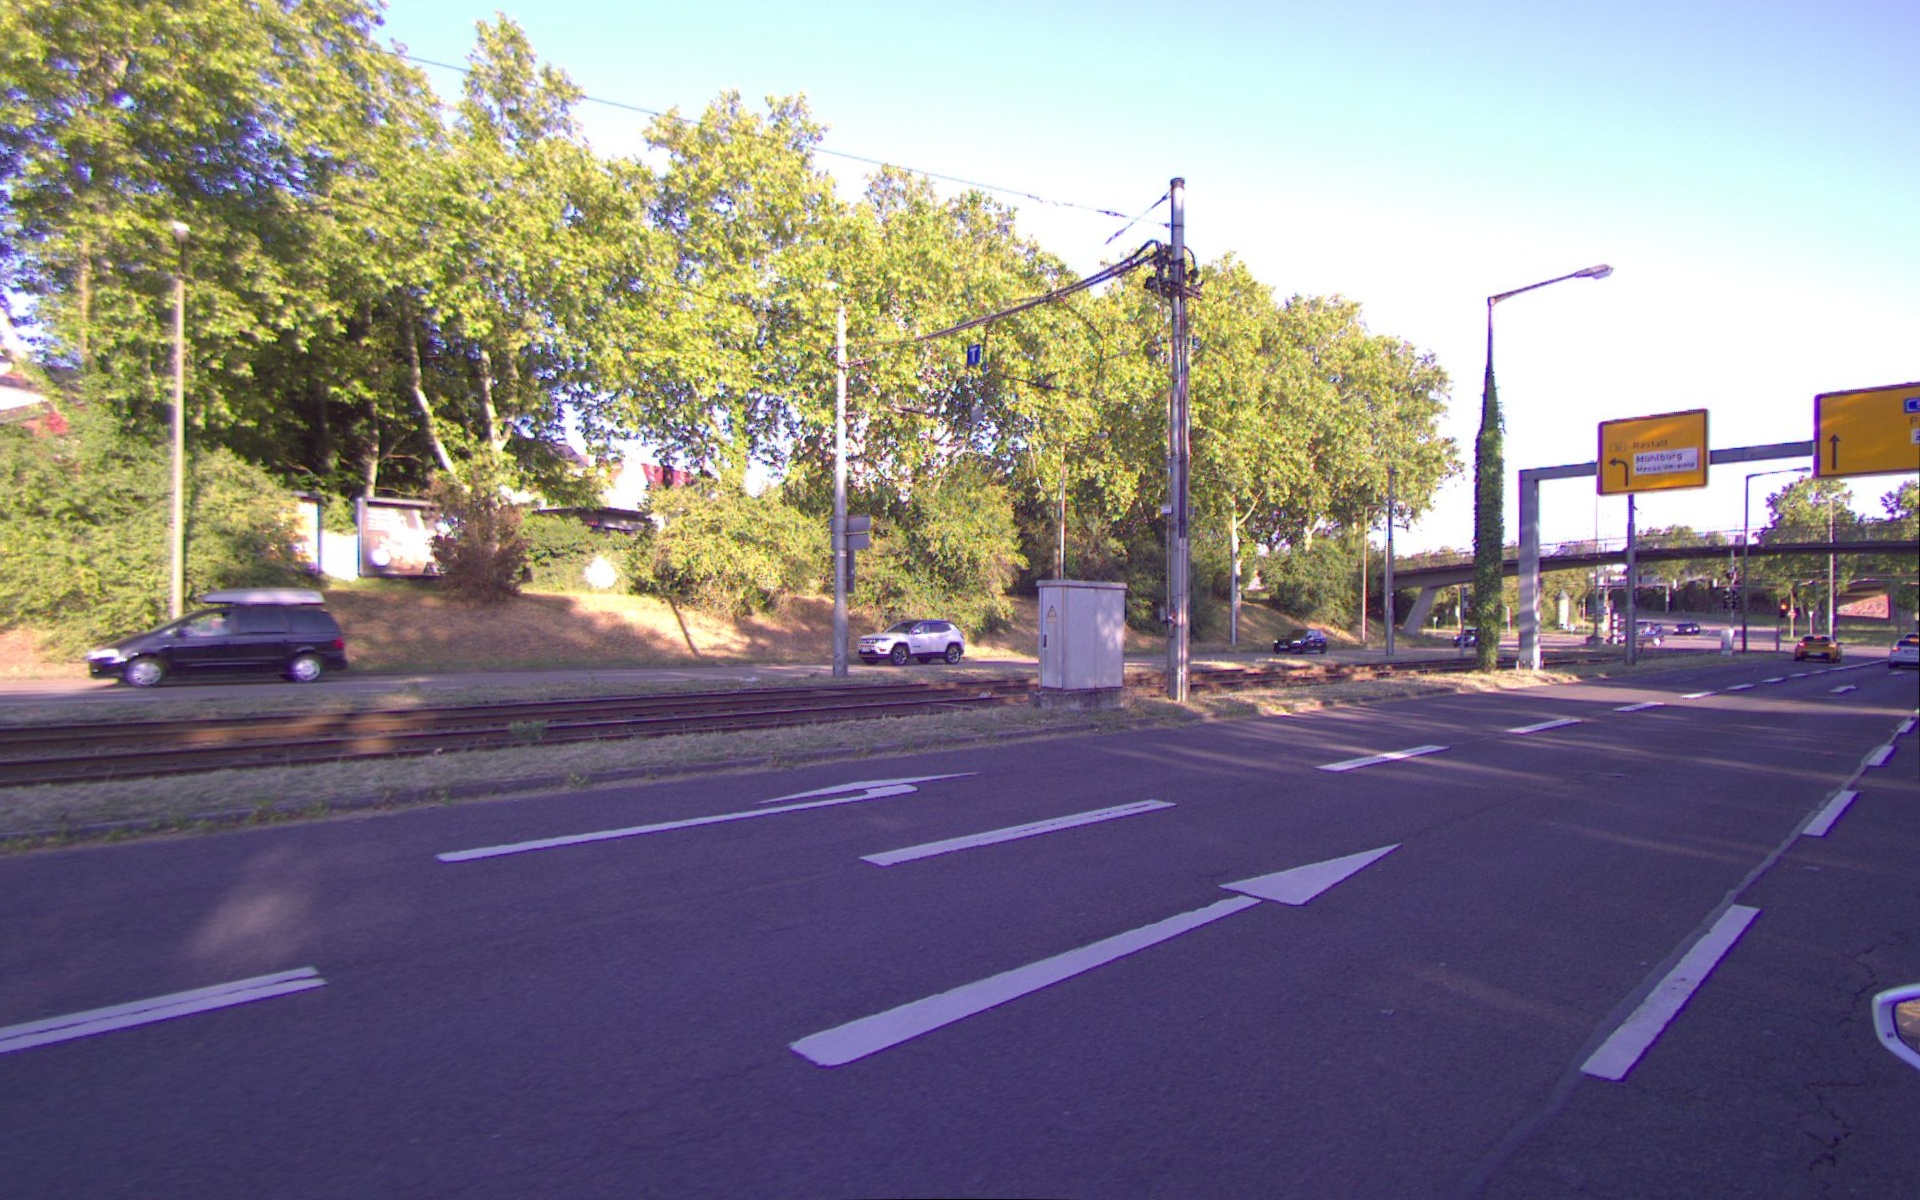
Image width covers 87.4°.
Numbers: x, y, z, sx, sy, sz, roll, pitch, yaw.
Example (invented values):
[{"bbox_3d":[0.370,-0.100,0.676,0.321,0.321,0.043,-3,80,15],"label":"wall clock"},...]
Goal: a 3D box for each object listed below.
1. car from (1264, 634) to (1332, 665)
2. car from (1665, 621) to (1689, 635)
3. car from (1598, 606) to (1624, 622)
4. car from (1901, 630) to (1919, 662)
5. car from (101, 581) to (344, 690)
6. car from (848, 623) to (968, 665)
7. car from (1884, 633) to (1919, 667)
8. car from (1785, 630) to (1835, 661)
[{"bbox_3d":[19.448,2.797,57.680,4.161,1.703,1.975,2,-3,-43],"label":"car"},{"bbox_3d":[86.355,3.327,120.965,1.859,1.596,3.651,2,0,45],"label":"car"},{"bbox_3d":[78.246,1.659,120.653,1.859,1.795,3.975,2,0,45],"label":"car"},{"bbox_3d":[55.802,2.631,58.103,1.772,1.816,4.801,-2,-2,42],"label":"car"},{"bbox_3d":[-16.350,0.791,22.381,4.161,2.191,1.975,2,-3,-43],"label":"car"},{"bbox_3d":[-1.865,1.603,36.904,1.974,1.459,4.164,-2,-3,45],"label":"car"},{"bbox_3d":[46.202,2.401,48.800,4.162,1.586,1.647,1,-2,-44],"label":"car"},{"bbox_3d":[45.667,2.414,53.945,3.973,1.586,1.647,1,-2,-44],"label":"car"}]
